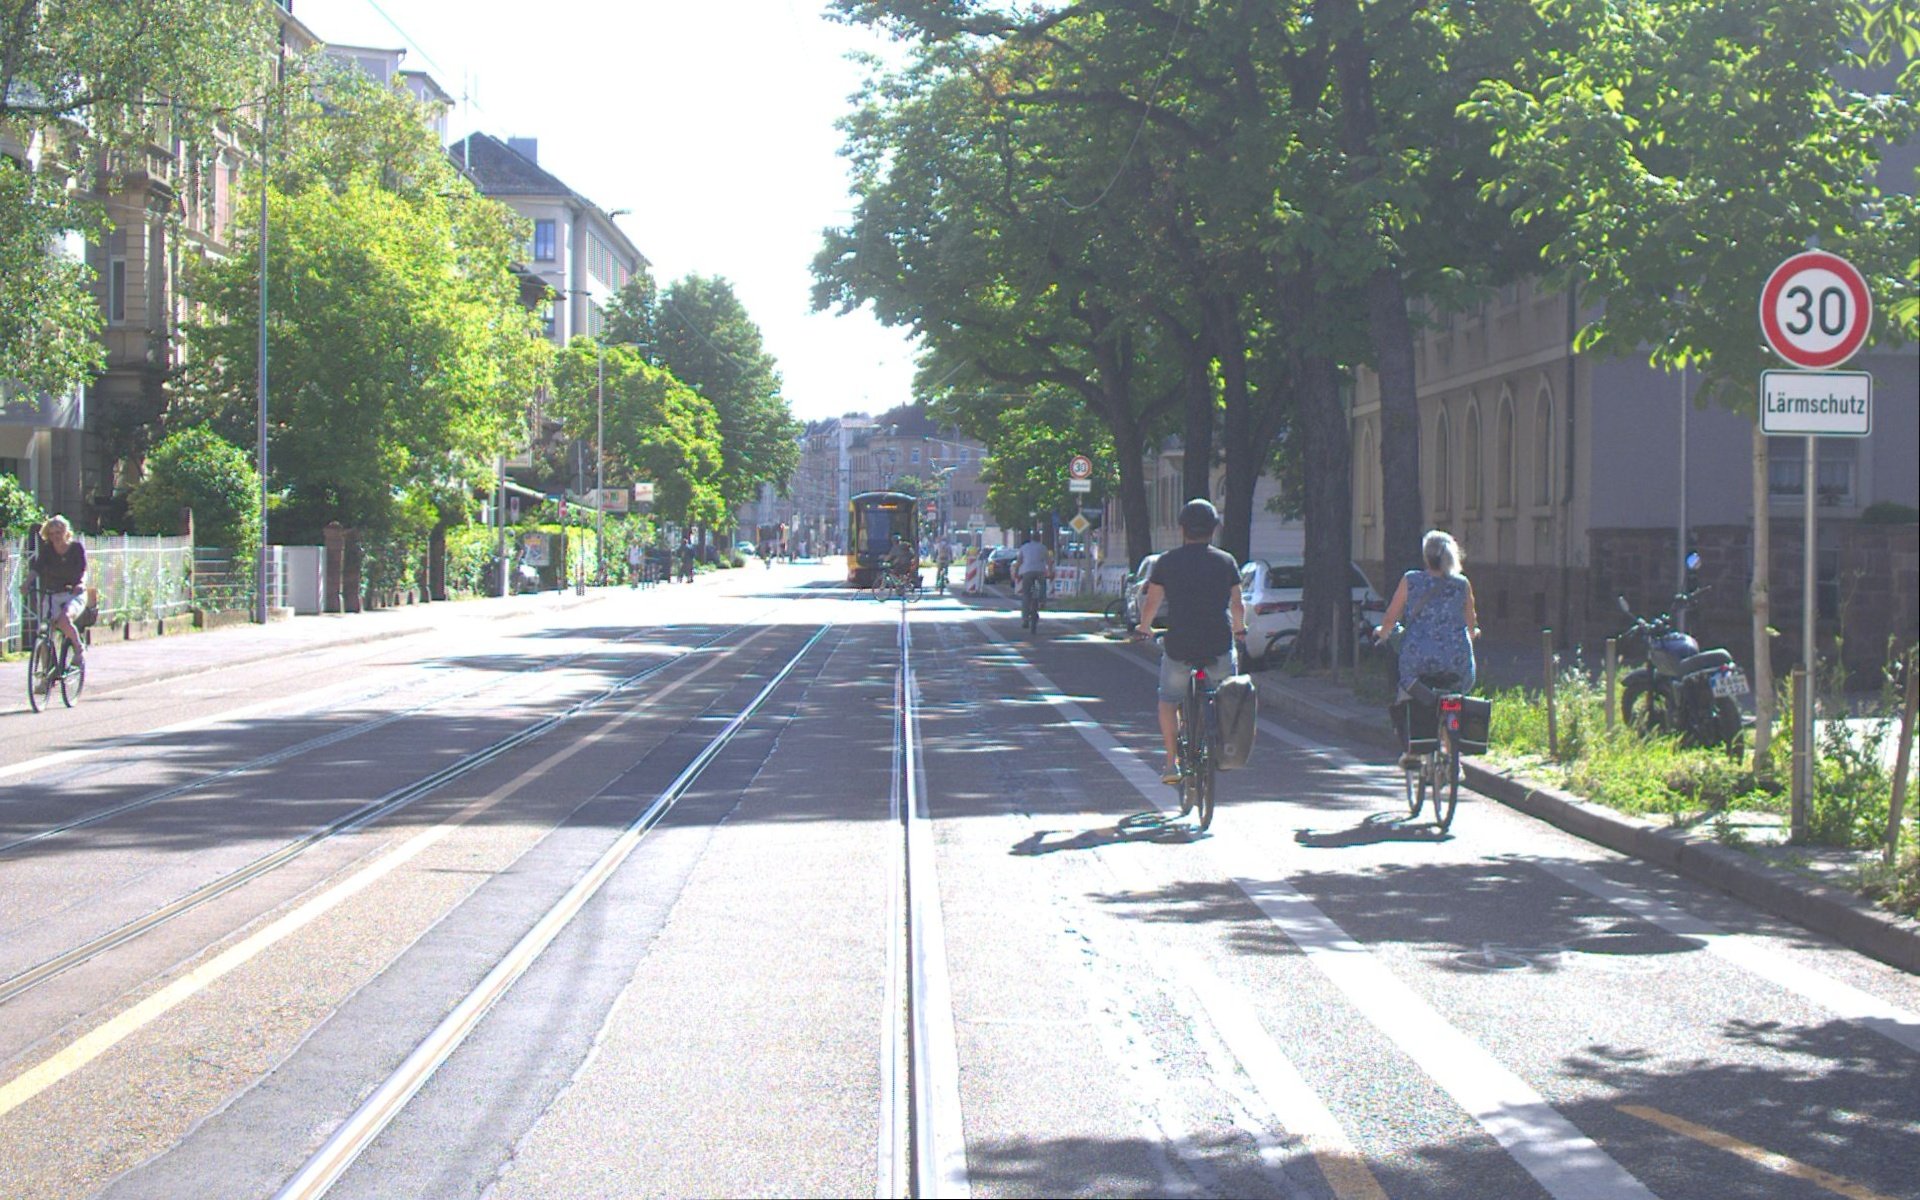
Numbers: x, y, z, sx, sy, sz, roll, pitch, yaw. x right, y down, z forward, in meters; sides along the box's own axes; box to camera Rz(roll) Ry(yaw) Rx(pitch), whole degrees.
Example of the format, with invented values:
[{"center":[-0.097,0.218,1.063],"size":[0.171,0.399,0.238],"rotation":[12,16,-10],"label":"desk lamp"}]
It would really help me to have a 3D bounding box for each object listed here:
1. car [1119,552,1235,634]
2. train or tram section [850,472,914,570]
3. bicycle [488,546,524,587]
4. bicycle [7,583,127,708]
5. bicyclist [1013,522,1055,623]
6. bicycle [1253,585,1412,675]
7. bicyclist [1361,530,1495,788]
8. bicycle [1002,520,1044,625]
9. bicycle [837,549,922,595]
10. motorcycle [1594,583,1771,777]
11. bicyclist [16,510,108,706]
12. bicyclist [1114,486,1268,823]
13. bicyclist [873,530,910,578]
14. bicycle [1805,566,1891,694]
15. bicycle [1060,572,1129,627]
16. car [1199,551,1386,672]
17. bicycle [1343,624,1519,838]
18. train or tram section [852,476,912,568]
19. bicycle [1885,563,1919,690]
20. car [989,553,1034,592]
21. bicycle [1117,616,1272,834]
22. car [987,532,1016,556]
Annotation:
[{"center":[3.914,-0.147,62.622],"size":[1.748,1.415,4.000],"rotation":[0,1,-1],"label":"car"},{"center":[-2.862,-2.904,126.552],"size":[2.153,3.420,6.612],"rotation":[2,1,-1],"label":"train or tram section"},{"center":[-12.330,-0.915,93.286],"size":[0.632,1.065,1.832],"rotation":[2,1,-18],"label":"bicycle"},{"center":[-8.368,0.408,32.277],"size":[0.691,1.108,1.719],"rotation":[-1,1,-1],"label":"bicycle"},{"center":[1.327,-0.508,61.998],"size":[0.645,1.789,0.956],"rotation":[2,1,-1],"label":"bicyclist"},{"center":[4.433,0.352,40.971],"size":[1.792,1.016,0.620],"rotation":[-2,1,-1],"label":"bicycle"},{"center":[2.729,0.334,20.096],"size":[0.635,1.463,0.616],"rotation":[2,1,-1],"label":"bicyclist"},{"center":[1.143,-0.514,62.637],"size":[0.663,1.853,2.260],"rotation":[2,1,0],"label":"bicycle"},{"center":[-2.193,-0.775,93.487],"size":[2.141,1.167,0.802],"rotation":[2,1,14],"label":"bicycle"},{"center":[4.828,0.514,23.071],"size":[0.495,1.186,1.862],"rotation":[-3,2,-8],"label":"motorcycle"},{"center":[-8.359,0.072,32.021],"size":[0.660,1.795,0.616],"rotation":[-1,0,-1],"label":"bicyclist"},{"center":[1.296,0.293,19.427],"size":[0.727,1.842,0.837],"rotation":[2,1,-2],"label":"bicyclist"},{"center":[-1.854,-1.245,93.168],"size":[0.772,1.287,0.733],"rotation":[2,1,15],"label":"bicyclist"},{"center":[8.794,0.289,34.079],"size":[0.434,1.219,1.373],"rotation":[2,1,-1],"label":"bicycle"},{"center":[2.651,-0.010,67.596],"size":[1.270,1.020,0.704],"rotation":[2,0,7],"label":"bicycle"},{"center":[4.193,0.107,44.027],"size":[1.628,1.431,4.666],"rotation":[0,1,-4],"label":"car"},{"center":[2.714,0.731,19.986],"size":[0.692,1.108,1.917],"rotation":[2,1,-1],"label":"bicycle"},{"center":[-3.011,-3.014,133.207],"size":[2.153,3.420,6.612],"rotation":[2,1,-1],"label":"train or tram section"},{"center":[9.519,0.257,33.767],"size":[0.434,1.219,1.373],"rotation":[2,1,-1],"label":"bicycle"},{"center":[2.159,-1.176,145.507],"size":[1.754,1.546,3.677],"rotation":[2,1,-1],"label":"car"},{"center":[1.304,0.678,19.363],"size":[0.692,1.108,1.719],"rotation":[2,1,-1],"label":"bicycle"},{"center":[2.944,-3.957,243.300],"size":[1.872,1.657,3.515],"rotation":[2,1,-1],"label":"car"}]
